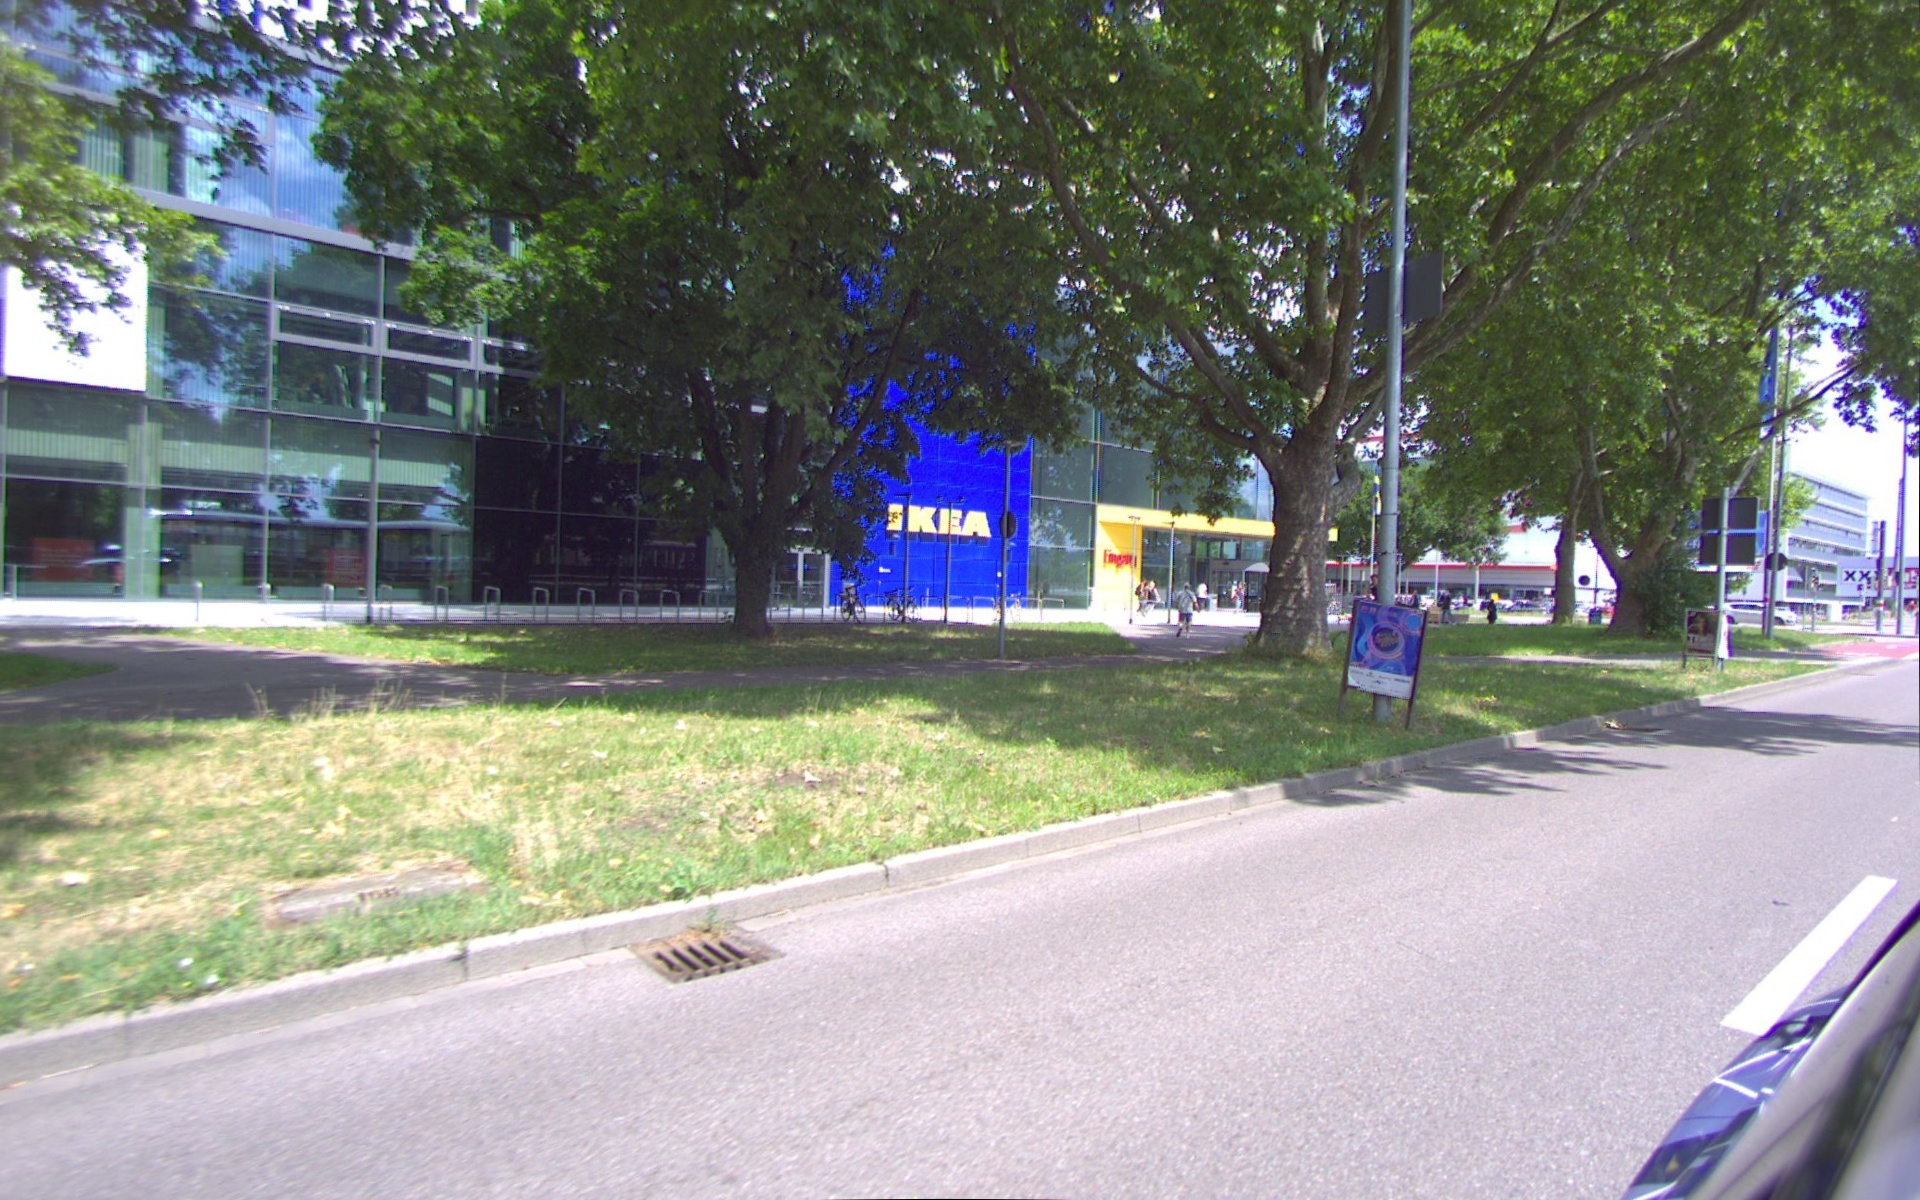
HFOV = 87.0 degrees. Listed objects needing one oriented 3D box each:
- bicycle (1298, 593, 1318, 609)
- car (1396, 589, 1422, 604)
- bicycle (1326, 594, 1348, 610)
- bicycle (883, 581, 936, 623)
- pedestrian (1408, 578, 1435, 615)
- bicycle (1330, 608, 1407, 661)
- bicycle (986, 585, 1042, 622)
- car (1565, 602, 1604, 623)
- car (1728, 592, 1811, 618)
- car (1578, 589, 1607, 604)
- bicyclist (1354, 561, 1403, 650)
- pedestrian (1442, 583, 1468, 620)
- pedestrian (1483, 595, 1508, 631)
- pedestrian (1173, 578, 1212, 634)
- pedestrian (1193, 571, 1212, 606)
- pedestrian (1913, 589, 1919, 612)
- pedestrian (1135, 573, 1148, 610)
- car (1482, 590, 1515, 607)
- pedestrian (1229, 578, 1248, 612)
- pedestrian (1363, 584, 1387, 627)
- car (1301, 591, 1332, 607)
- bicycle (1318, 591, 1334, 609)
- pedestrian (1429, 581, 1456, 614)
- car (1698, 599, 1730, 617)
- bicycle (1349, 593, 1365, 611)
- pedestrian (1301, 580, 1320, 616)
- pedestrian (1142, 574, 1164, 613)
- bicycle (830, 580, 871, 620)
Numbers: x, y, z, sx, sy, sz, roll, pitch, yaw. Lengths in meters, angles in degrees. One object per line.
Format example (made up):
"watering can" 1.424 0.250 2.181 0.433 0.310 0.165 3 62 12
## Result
"bicycle" 23.710 0.073 68.936 1.836 1.007 0.464 1 0 -42
"car" 63.209 -0.528 142.459 3.927 2.039 1.776 1 0 -39
"bicycle" 24.883 0.135 66.837 1.833 1.007 0.424 2 0 -37
"bicycle" -1.680 0.027 32.913 0.966 1.190 3.848 2 2 -14
"pedestrian" 27.056 -0.219 59.348 0.990 2.098 0.976 1 1 -24
"bicycle" 8.679 0.712 21.454 1.987 1.011 0.621 -2 1 -39
"bicycle" 1.907 0.104 36.161 0.680 1.190 2.530 1 2 -31
"car" 62.613 1.234 101.444 4.283 2.014 1.998 1 1 -39
"car" 51.012 0.279 63.836 1.868 1.488 3.827 -1 2 -41
"car" 85.881 -0.470 137.501 4.009 2.014 2.000 1 1 -37
"bicyclist" 8.968 0.110 21.678 0.907 1.869 0.611 1 -1 -39
"pedestrian" 27.026 0.087 55.277 0.872 1.908 0.973 2 3 6
"pedestrian" 25.772 0.617 48.709 0.581 1.683 0.720 3 2 -34
"pedestrian" 7.212 0.183 31.363 0.875 1.717 0.777 1 0 -39
"pedestrian" 13.411 -0.635 56.012 0.766 1.909 0.619 1 1 -29
"pedestrian" 81.870 0.036 86.113 0.858 1.860 0.792 1 2 24
"pedestrian" 8.366 -0.391 46.697 0.413 1.723 0.544 2 0 -1
"car" 65.212 -0.161 122.488 4.283 2.014 1.998 1 1 -39
"pedestrian" 14.276 -0.278 51.905 0.795 1.684 0.698 3 1 22
"pedestrian" 17.721 0.227 43.226 0.656 1.794 0.666 1 1 -37
"car" 48.250 -0.132 137.025 4.283 2.014 1.998 1 1 -39
"bicycle" 24.552 -0.010 67.886 0.459 1.172 1.659 1 0 37
"pedestrian" 28.604 -0.138 60.006 0.990 1.925 0.976 1 1 -23
"car" 88.220 0.910 118.412 4.283 2.014 1.998 1 1 -39
"bicycle" 25.968 0.128 66.152 0.501 1.121 1.902 4 1 34
"pedestrian" 16.100 -0.073 46.454 0.654 1.637 0.590 2 -1 -43
"pedestrian" 8.664 -0.295 45.474 0.875 1.685 0.781 1 -1 16
"bicycle" -3.506 -0.018 32.083 0.878 1.135 2.785 1 2 -14
